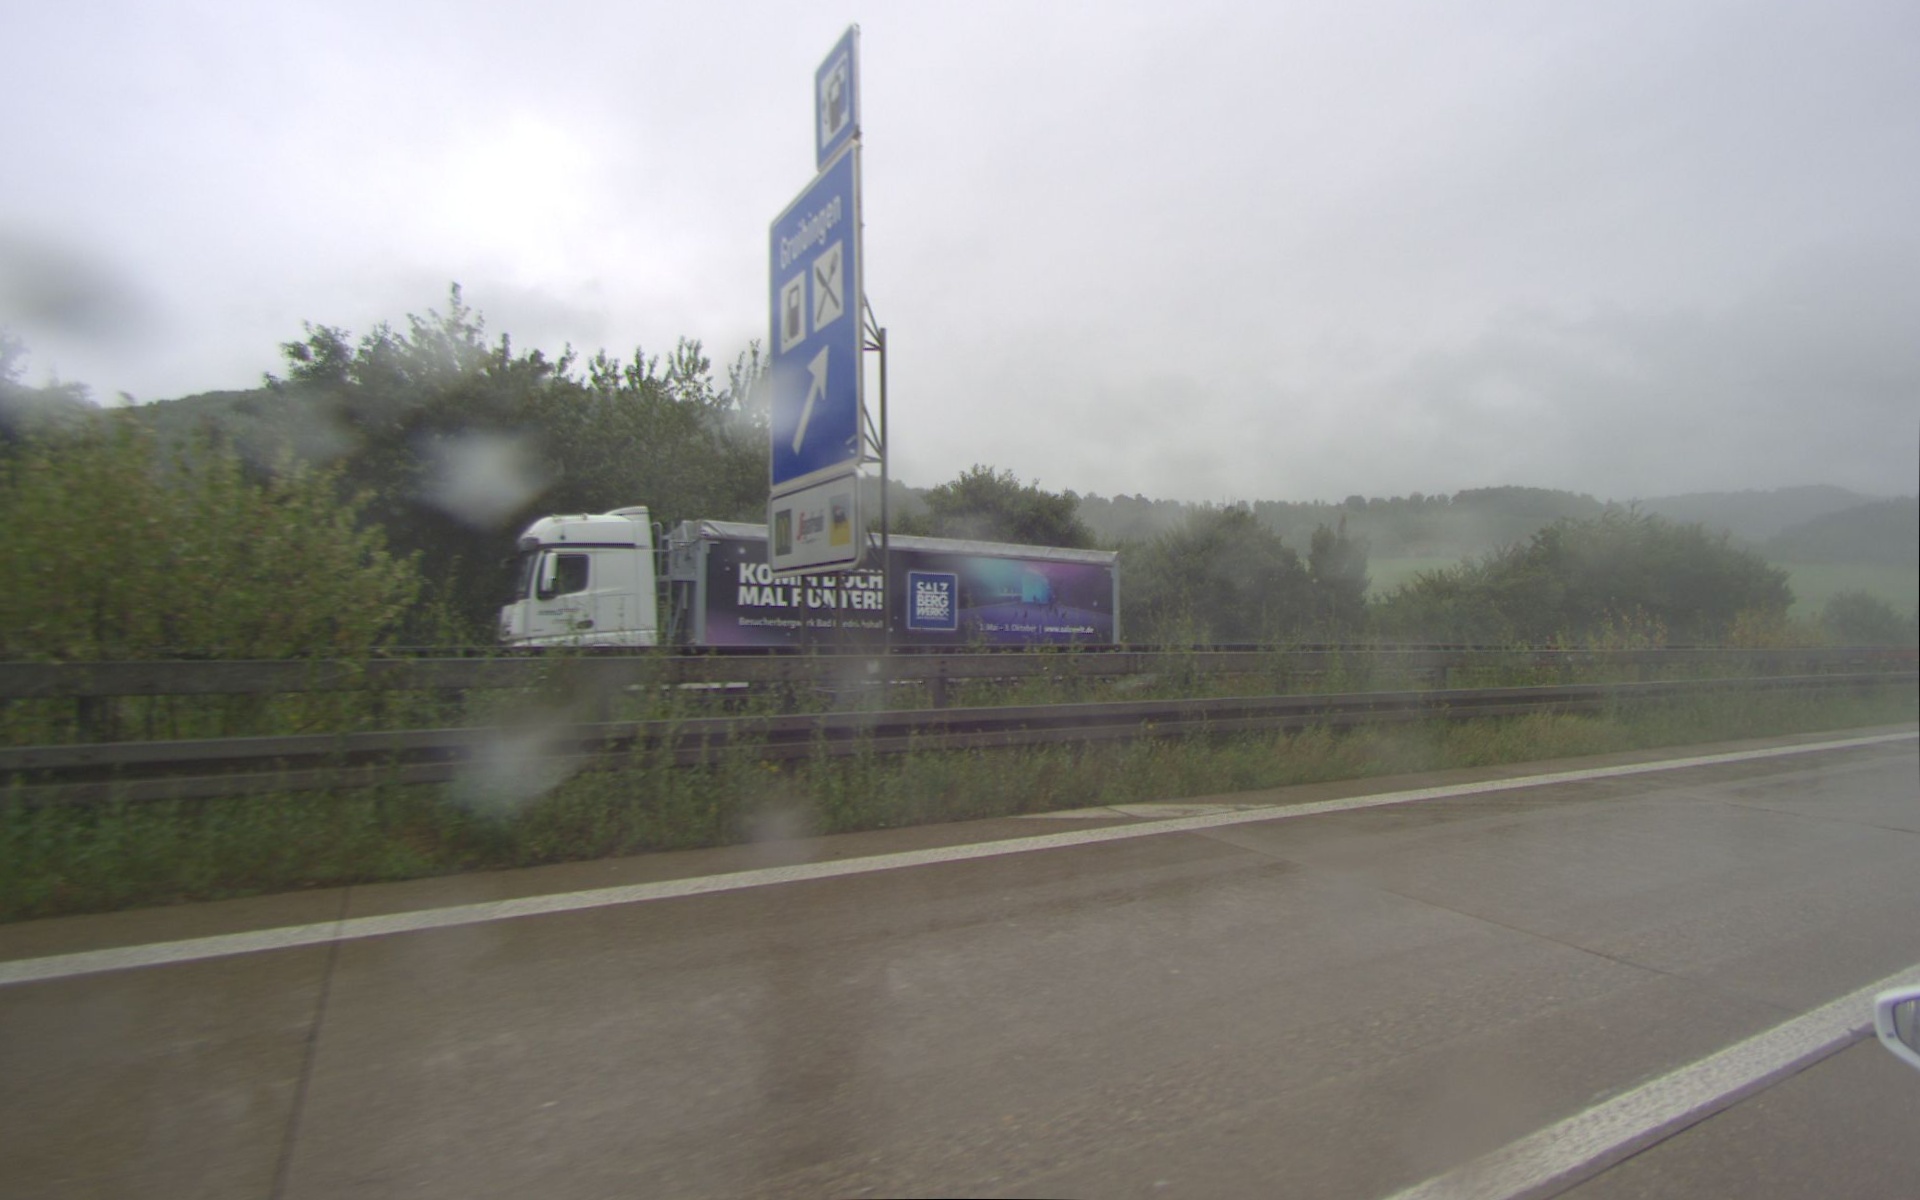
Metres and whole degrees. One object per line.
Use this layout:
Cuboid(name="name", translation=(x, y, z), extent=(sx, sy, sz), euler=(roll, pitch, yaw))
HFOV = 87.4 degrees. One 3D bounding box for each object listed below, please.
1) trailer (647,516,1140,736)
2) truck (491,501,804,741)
Cuboid(name="trailer", translation=(-1.223, 0.602, 23.609), extent=(11.268, 4.229, 3.339), euler=(1, 0, -30))
Cuboid(name="truck", translation=(-6.403, 0.423, 20.562), extent=(5.456, 4.240, 3.356), euler=(1, 0, -31))
